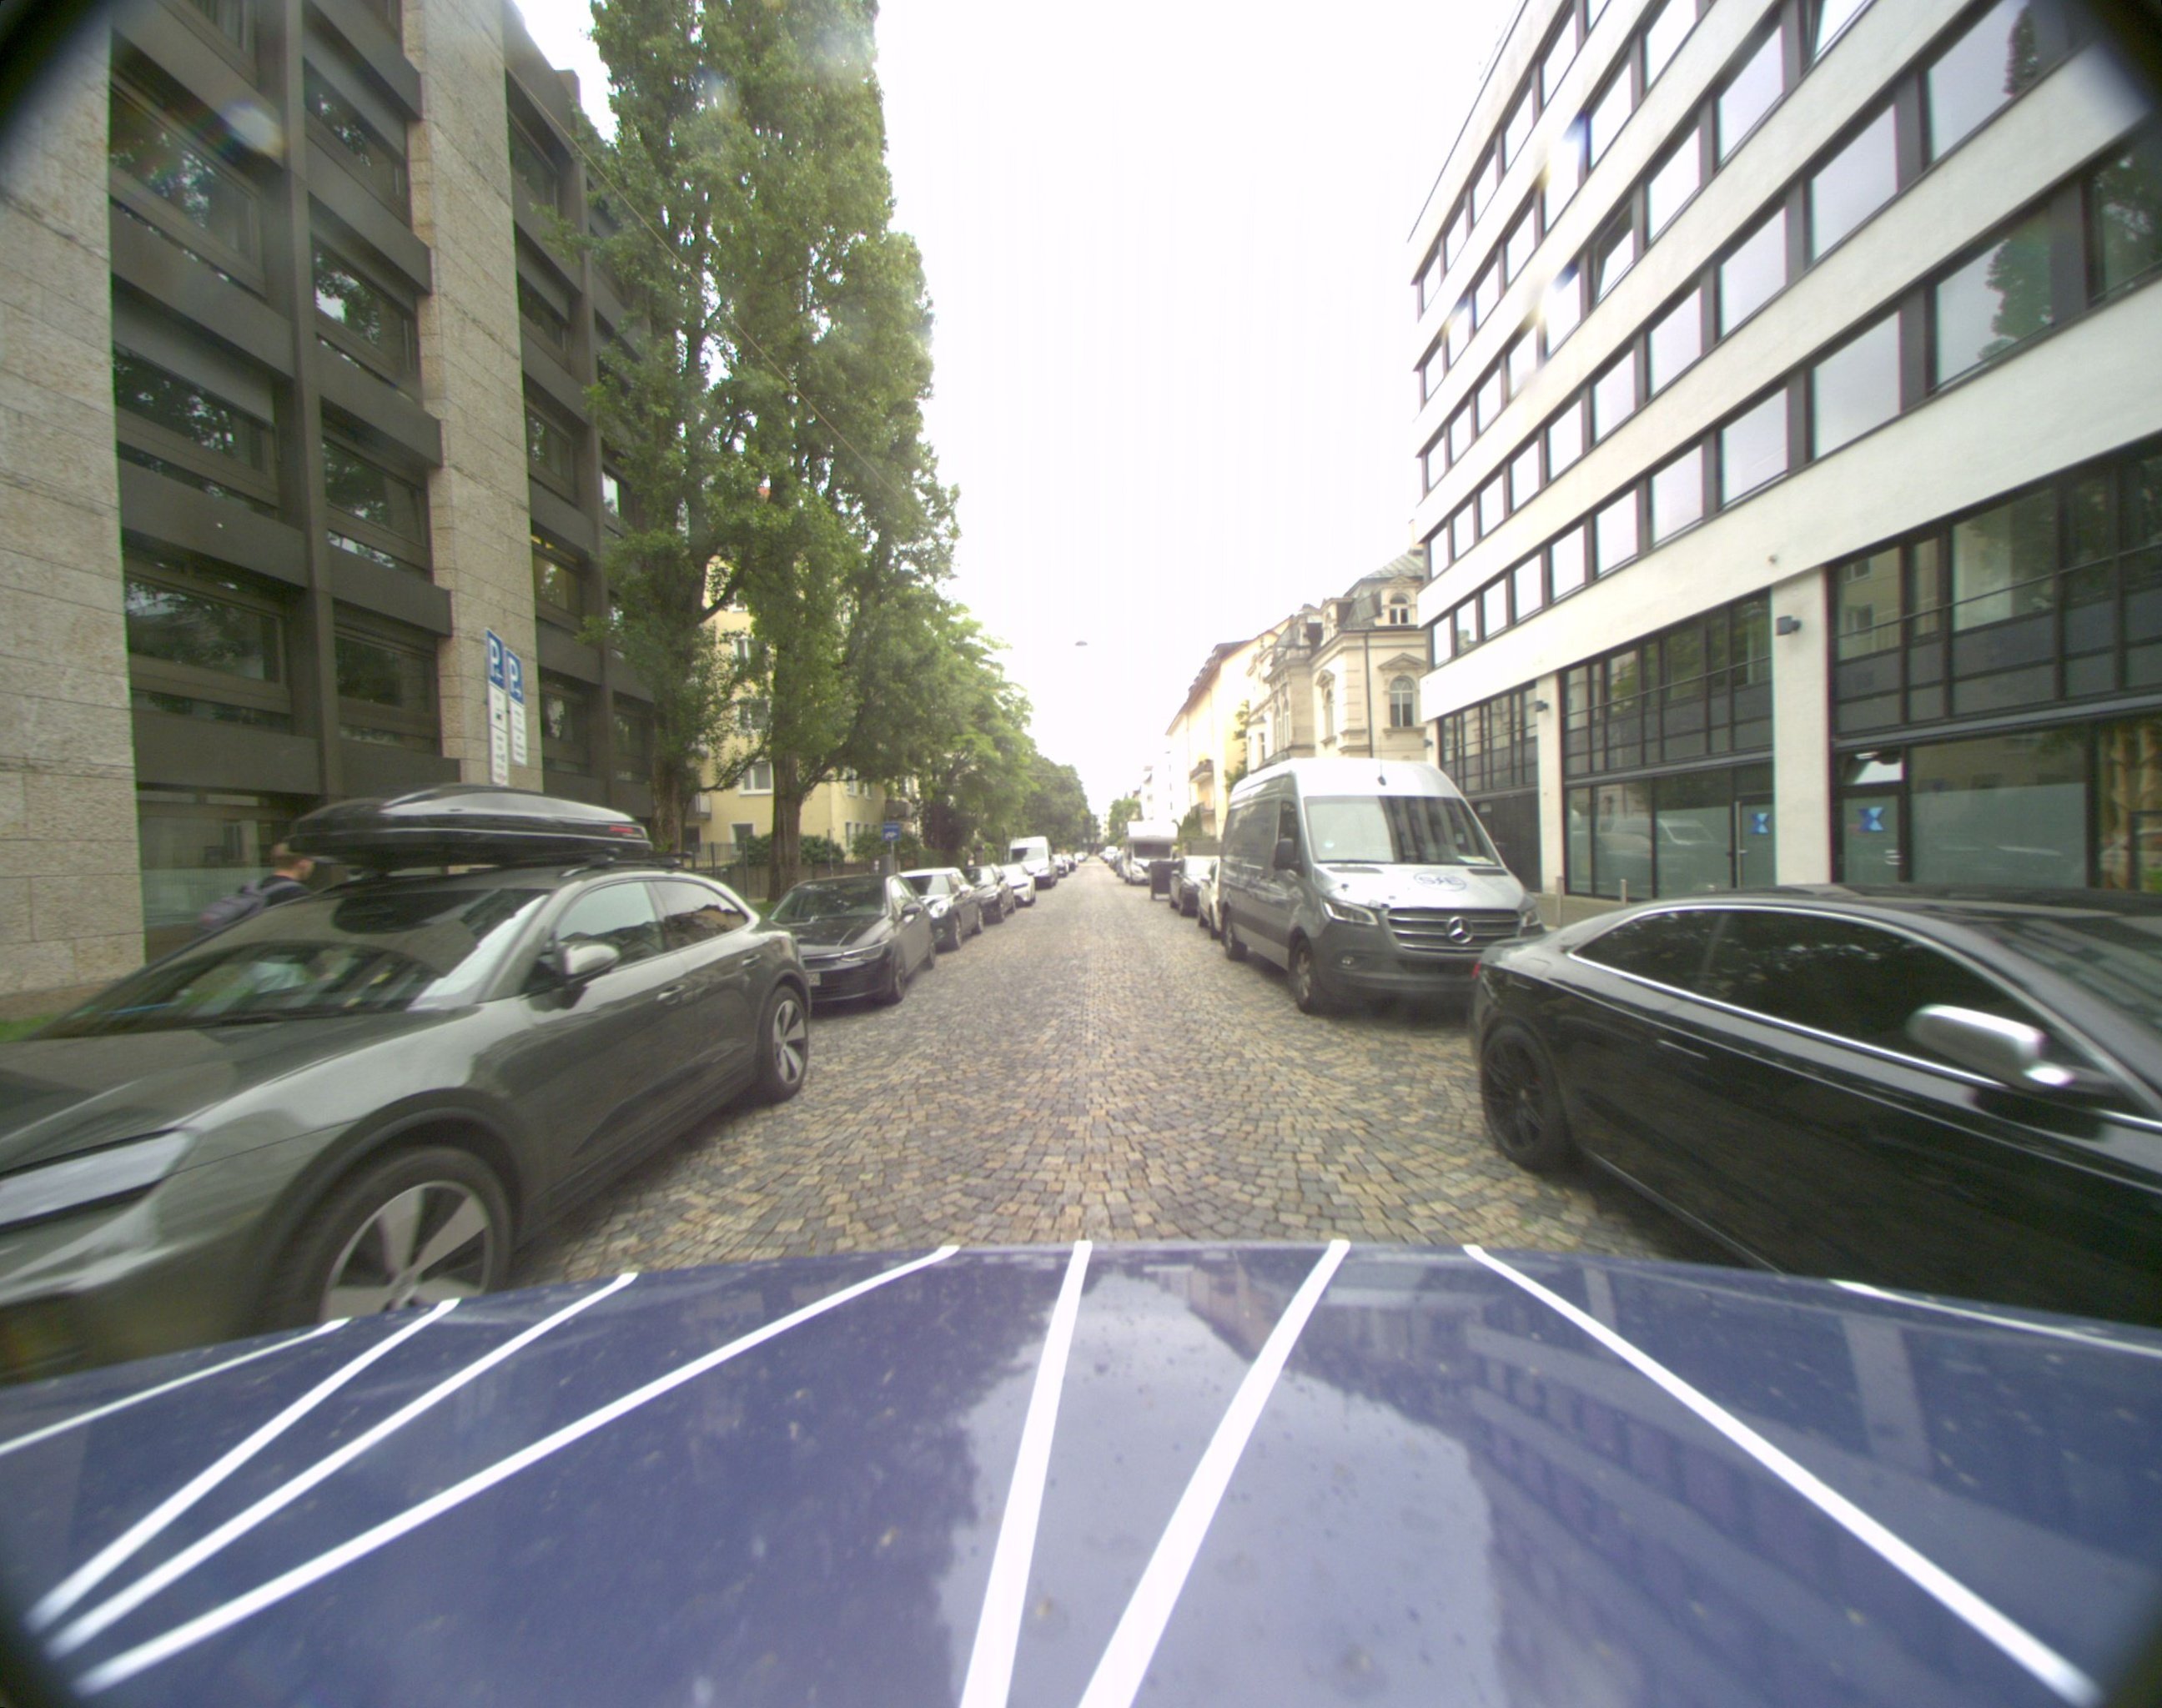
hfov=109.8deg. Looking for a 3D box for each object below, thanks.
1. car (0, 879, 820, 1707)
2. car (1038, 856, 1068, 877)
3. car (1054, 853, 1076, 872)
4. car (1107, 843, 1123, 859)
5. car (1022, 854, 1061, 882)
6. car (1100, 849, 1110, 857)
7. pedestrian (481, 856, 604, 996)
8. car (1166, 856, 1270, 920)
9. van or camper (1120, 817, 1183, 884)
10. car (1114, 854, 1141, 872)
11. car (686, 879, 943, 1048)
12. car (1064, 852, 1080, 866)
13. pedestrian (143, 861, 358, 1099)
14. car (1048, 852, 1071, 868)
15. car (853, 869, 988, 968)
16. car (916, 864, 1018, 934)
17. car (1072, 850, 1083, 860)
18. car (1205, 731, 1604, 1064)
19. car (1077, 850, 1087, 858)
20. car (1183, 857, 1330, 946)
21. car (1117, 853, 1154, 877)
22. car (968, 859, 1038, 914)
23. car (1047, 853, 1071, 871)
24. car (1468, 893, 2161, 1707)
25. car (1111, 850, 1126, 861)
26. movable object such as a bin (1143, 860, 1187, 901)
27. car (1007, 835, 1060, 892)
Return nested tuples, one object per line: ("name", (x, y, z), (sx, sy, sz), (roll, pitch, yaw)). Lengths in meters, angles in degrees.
("car", (-2.936, 1.034, 3.338), (1.998, 1.573, 4.341), (-3, 0, 0))
("car", (-2.035, 0.892, 55.820), (1.999, 1.380, 3.873), (-4, 1, -1))
("car", (-1.615, 0.859, 76.368), (1.999, 1.680, 3.873), (-4, 1, -1))
("car", (5.467, -0.450, 122.663), (2.088, 2.418, 5.610), (-4, 1, 0))
("car", (-2.231, 0.792, 43.913), (1.999, 1.380, 3.873), (-4, 1, -1))
("car", (5.568, -0.309, 178.282), (1.999, 1.680, 3.873), (-4, 1, -1))
("pedestrian", (-7.001, 0.905, 9.912), (0.867, 1.704, 0.913), (-2, 1, 21))
("car", (3.405, 0.789, 19.630), (1.998, 1.380, 4.000), (-2, 0, 1))
("van or camper", (3.494, -0.199, 39.097), (2.464, 3.030, 7.317), (-2, 1, 0))
("car", (4.142, 0.793, 68.231), (1.999, 1.401, 3.873), (-4, 1, -1))
("car", (-2.891, 1.102, 9.278), (1.724, 1.382, 4.204), (-2, 0, -2))
("car", (-1.212, 0.612, 102.295), (1.999, 1.680, 3.873), (-4, 1, -1))
("pedestrian", (-5.799, 0.833, 5.352), (0.645, 1.528, 0.709), (-2, 1, -2))
("car", (-2.011, 0.563, 71.482), (1.999, 1.379, 3.873), (-2, 0, -1))
("car", (-2.849, 1.096, 14.236), (1.604, 1.422, 3.562), (-4, 0, 1))
("car", (-2.762, 1.048, 19.277), (1.999, 1.380, 3.873), (-4, 1, -1))
("car", (-0.731, 0.194, 151.322), (1.999, 1.680, 3.873), (-4, 1, -1))
("car", (2.946, 0.310, 8.718), (2.064, 2.476, 5.848), (-2, 1, 0))
("car", (0.286, 0.034, 163.518), (1.999, 1.680, 3.873), (-4, 1, -1))
("car", (3.256, 0.817, 14.951), (1.998, 1.422, 4.000), (-2, 0, 1))
("car", (3.535, 0.670, 50.074), (1.999, 1.380, 3.873), (-4, 1, -1))
("car", (-2.446, 0.981, 24.633), (1.867, 1.490, 3.873), (-4, 1, -1))
("car", (-1.850, 0.623, 64.509), (1.999, 1.379, 3.873), (-2, 0, -1))
("car", (2.950, 0.915, 1.876), (1.998, 1.322, 4.116), (-2, 1, 2))
("car", (5.526, 0.200, 111.905), (1.999, 1.402, 3.872), (0, 1, -1))
("movable object such as a bin", (2.774, 0.856, 25.147), (1.255, 1.290, 1.174), (-2, 1, -3))
("car", (-2.236, 0.407, 37.093), (2.088, 2.418, 5.610), (-4, 1, 0))
